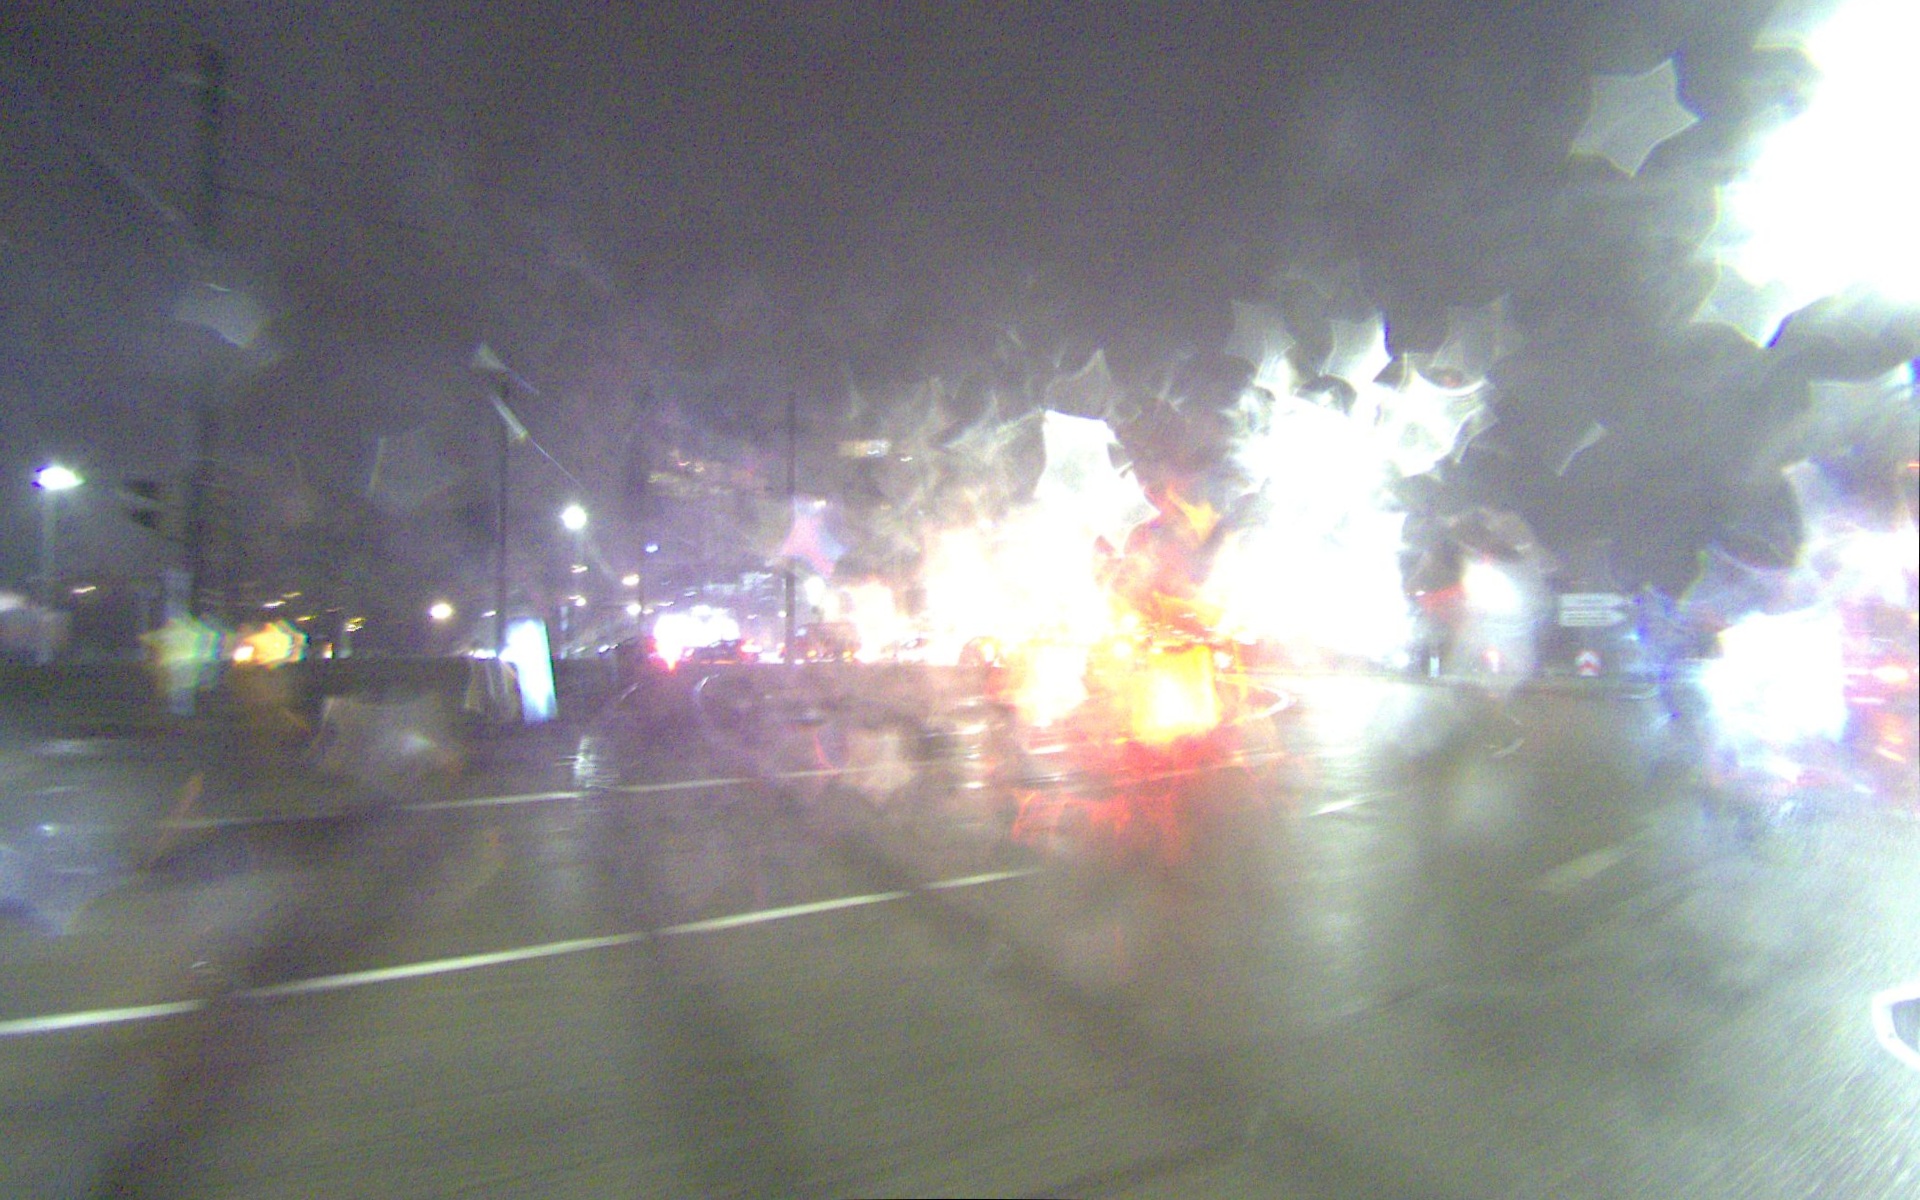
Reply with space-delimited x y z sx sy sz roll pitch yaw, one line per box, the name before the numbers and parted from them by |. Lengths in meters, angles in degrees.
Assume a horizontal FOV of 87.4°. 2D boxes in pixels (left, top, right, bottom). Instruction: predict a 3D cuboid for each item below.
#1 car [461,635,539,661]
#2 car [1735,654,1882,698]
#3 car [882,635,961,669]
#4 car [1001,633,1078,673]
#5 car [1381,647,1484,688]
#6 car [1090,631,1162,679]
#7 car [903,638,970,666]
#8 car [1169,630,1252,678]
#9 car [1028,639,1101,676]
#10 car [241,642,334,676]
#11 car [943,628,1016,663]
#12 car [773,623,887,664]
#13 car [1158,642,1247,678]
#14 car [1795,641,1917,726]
car | -27.766 2.891 60.706 3.983 1.463 1.813 1 -1 -38
car | 36.706 3.274 43.574 4.526 1.759 2.001 0 -1 6
car | -2.043 2.680 52.477 3.942 1.637 1.827 0 -1 42
car | 3.412 2.284 43.802 1.848 1.599 3.946 1 -1 -20
car | 21.107 2.991 45.013 3.812 1.661 1.865 0 -1 12
car | 6.005 1.966 36.696 1.704 1.599 3.963 1 -1 -4
car | -1.412 2.985 58.642 1.756 1.506 3.951 1 -1 -42
car | 9.013 1.931 36.378 1.705 1.599 3.624 1 -1 -8
car | 4.857 2.672 47.106 1.714 1.599 3.604 1 -1 -26
car | -35.067 3.040 52.397 3.843 1.639 1.752 2 -1 -41
car | 0.898 2.143 48.067 1.717 1.599 3.933 1 -1 -30
car | -7.366 2.392 56.709 6.204 2.117 2.510 0 -1 32
car | 11.821 2.914 49.130 3.943 1.604 1.587 0 -1 43
car | 24.291 2.162 27.186 4.523 2.040 1.976 2 -1 -42
